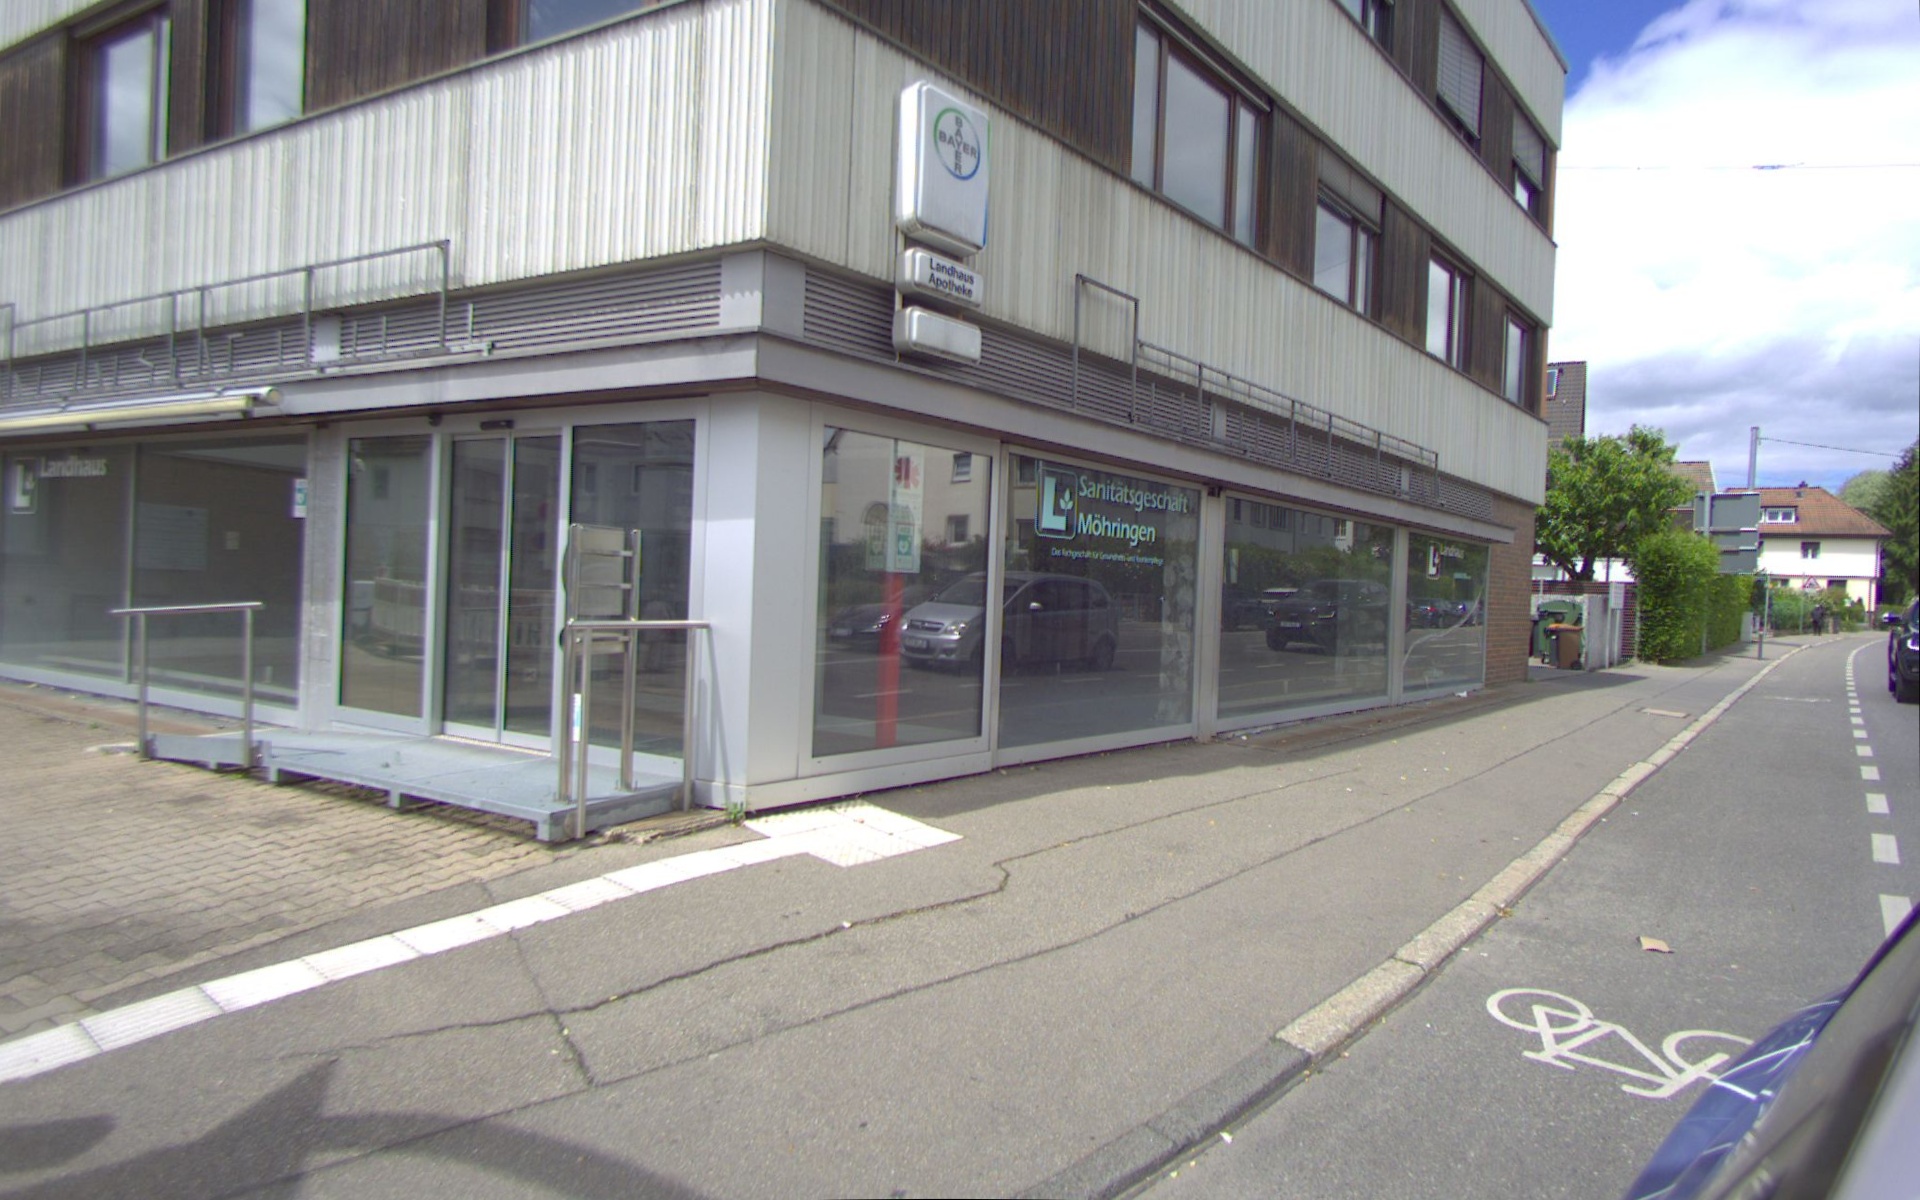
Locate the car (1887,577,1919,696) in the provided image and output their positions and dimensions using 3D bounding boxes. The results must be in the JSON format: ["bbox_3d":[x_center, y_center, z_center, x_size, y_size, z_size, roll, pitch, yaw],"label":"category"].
[{"bbox_3d":[17.415,0.604,17.426,1.880,1.872,5.144,2,1,40],"label":"car"}]

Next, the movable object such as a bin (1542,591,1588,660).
[{"bbox_3d":[13.343,0.554,22.327,0.806,1.473,0.472,1,0,39],"label":"movable object such as a bin"}]

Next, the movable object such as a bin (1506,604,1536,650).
[{"bbox_3d":[13.848,0.665,24.998,0.589,1.088,0.485,1,0,23],"label":"movable object such as a bin"}]

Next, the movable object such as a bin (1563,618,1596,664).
[{"bbox_3d":[13.064,0.857,21.344,0.513,0.933,0.475,1,0,24],"label":"movable object such as a bin"}]
